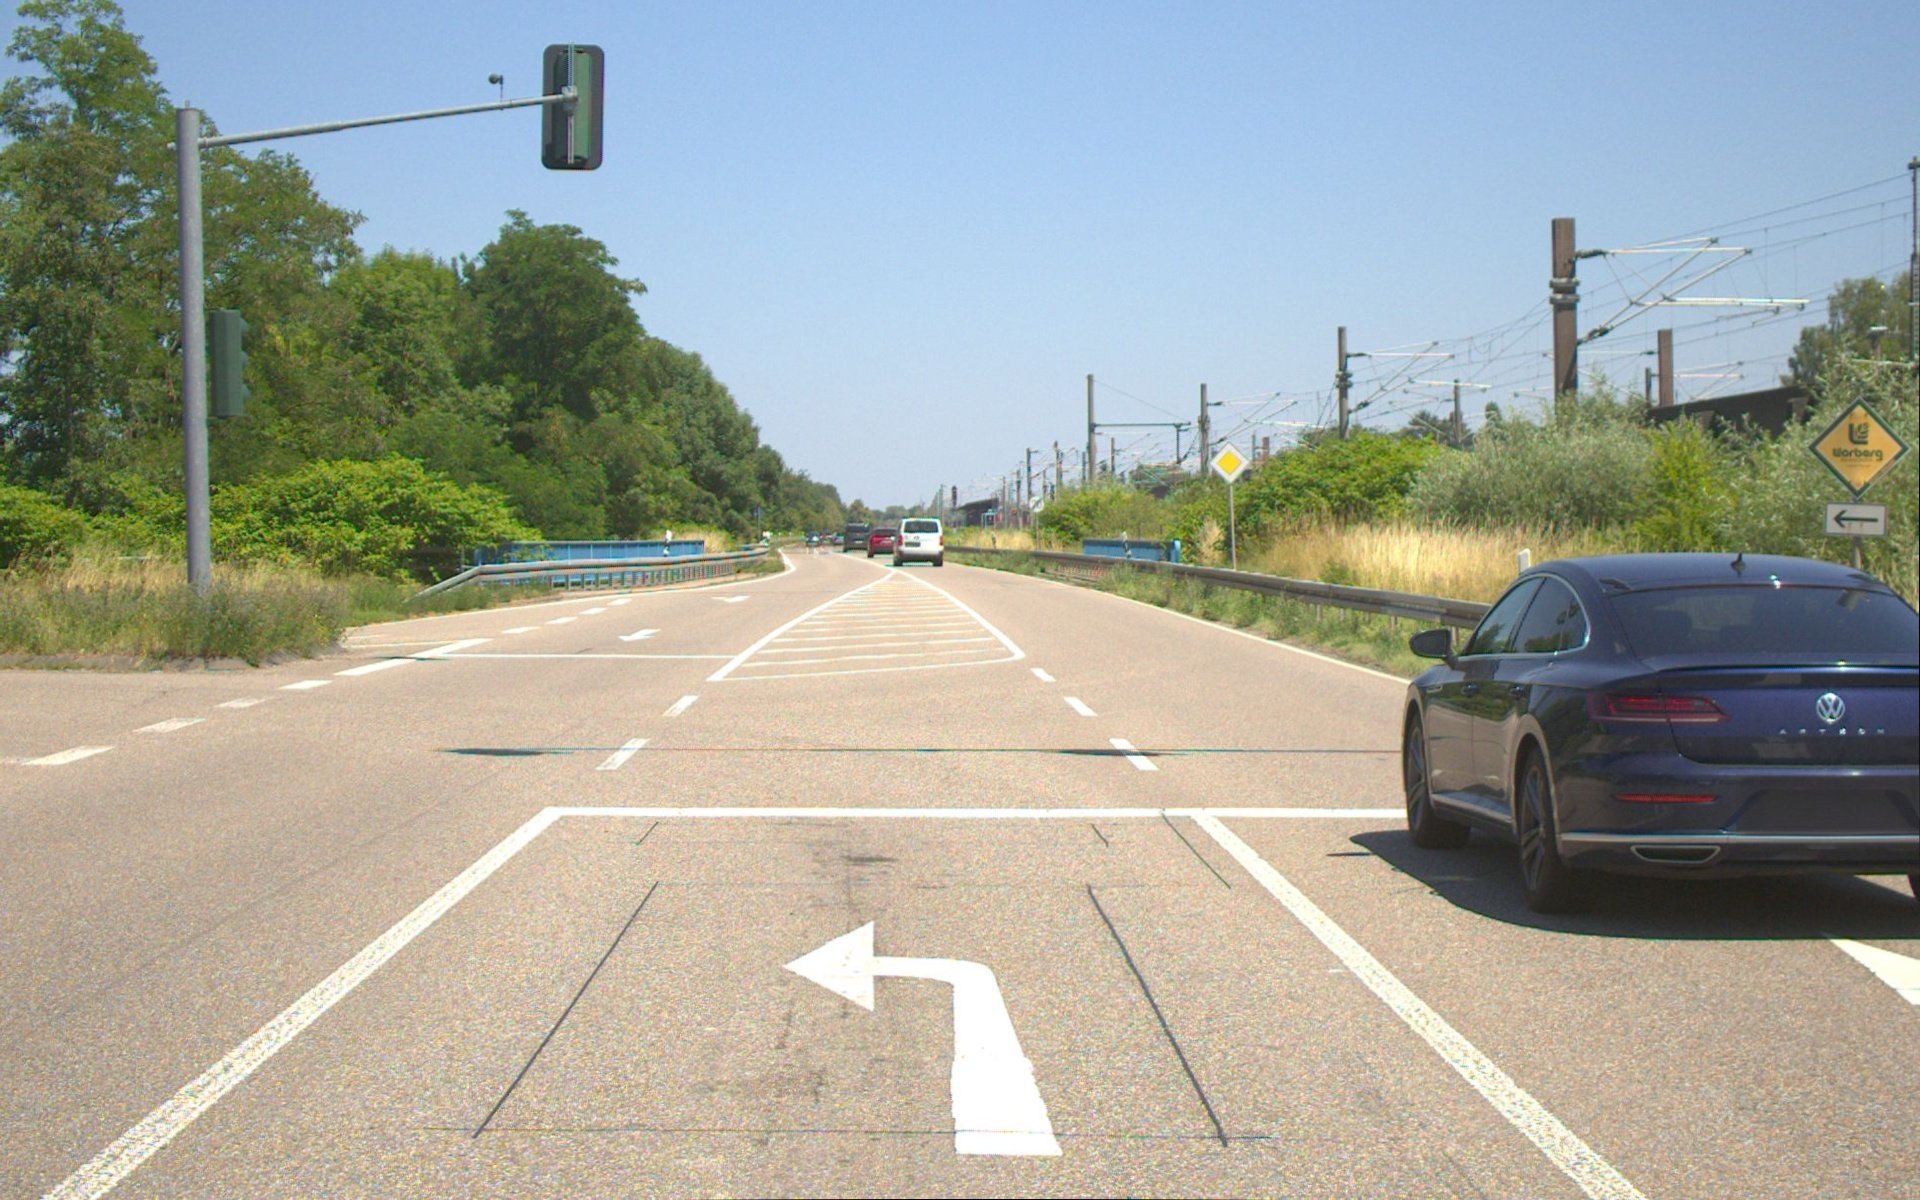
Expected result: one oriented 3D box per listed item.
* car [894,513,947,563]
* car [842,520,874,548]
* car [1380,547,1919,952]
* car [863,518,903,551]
[{"bbox_3d":[-1.628,-2.527,139.330,1.993,1.977,4.060,1,1,-2],"label":"car"},{"bbox_3d":[-7.194,-4.662,243.075,2.154,1.961,4.543,0,1,-3],"label":"car"},{"bbox_3d":[3.071,0.505,14.488,1.856,1.375,4.504,1,1,-2],"label":"car"},{"bbox_3d":[-4.165,-3.547,185.599,2.019,1.720,4.543,0,1,-3],"label":"car"}]
